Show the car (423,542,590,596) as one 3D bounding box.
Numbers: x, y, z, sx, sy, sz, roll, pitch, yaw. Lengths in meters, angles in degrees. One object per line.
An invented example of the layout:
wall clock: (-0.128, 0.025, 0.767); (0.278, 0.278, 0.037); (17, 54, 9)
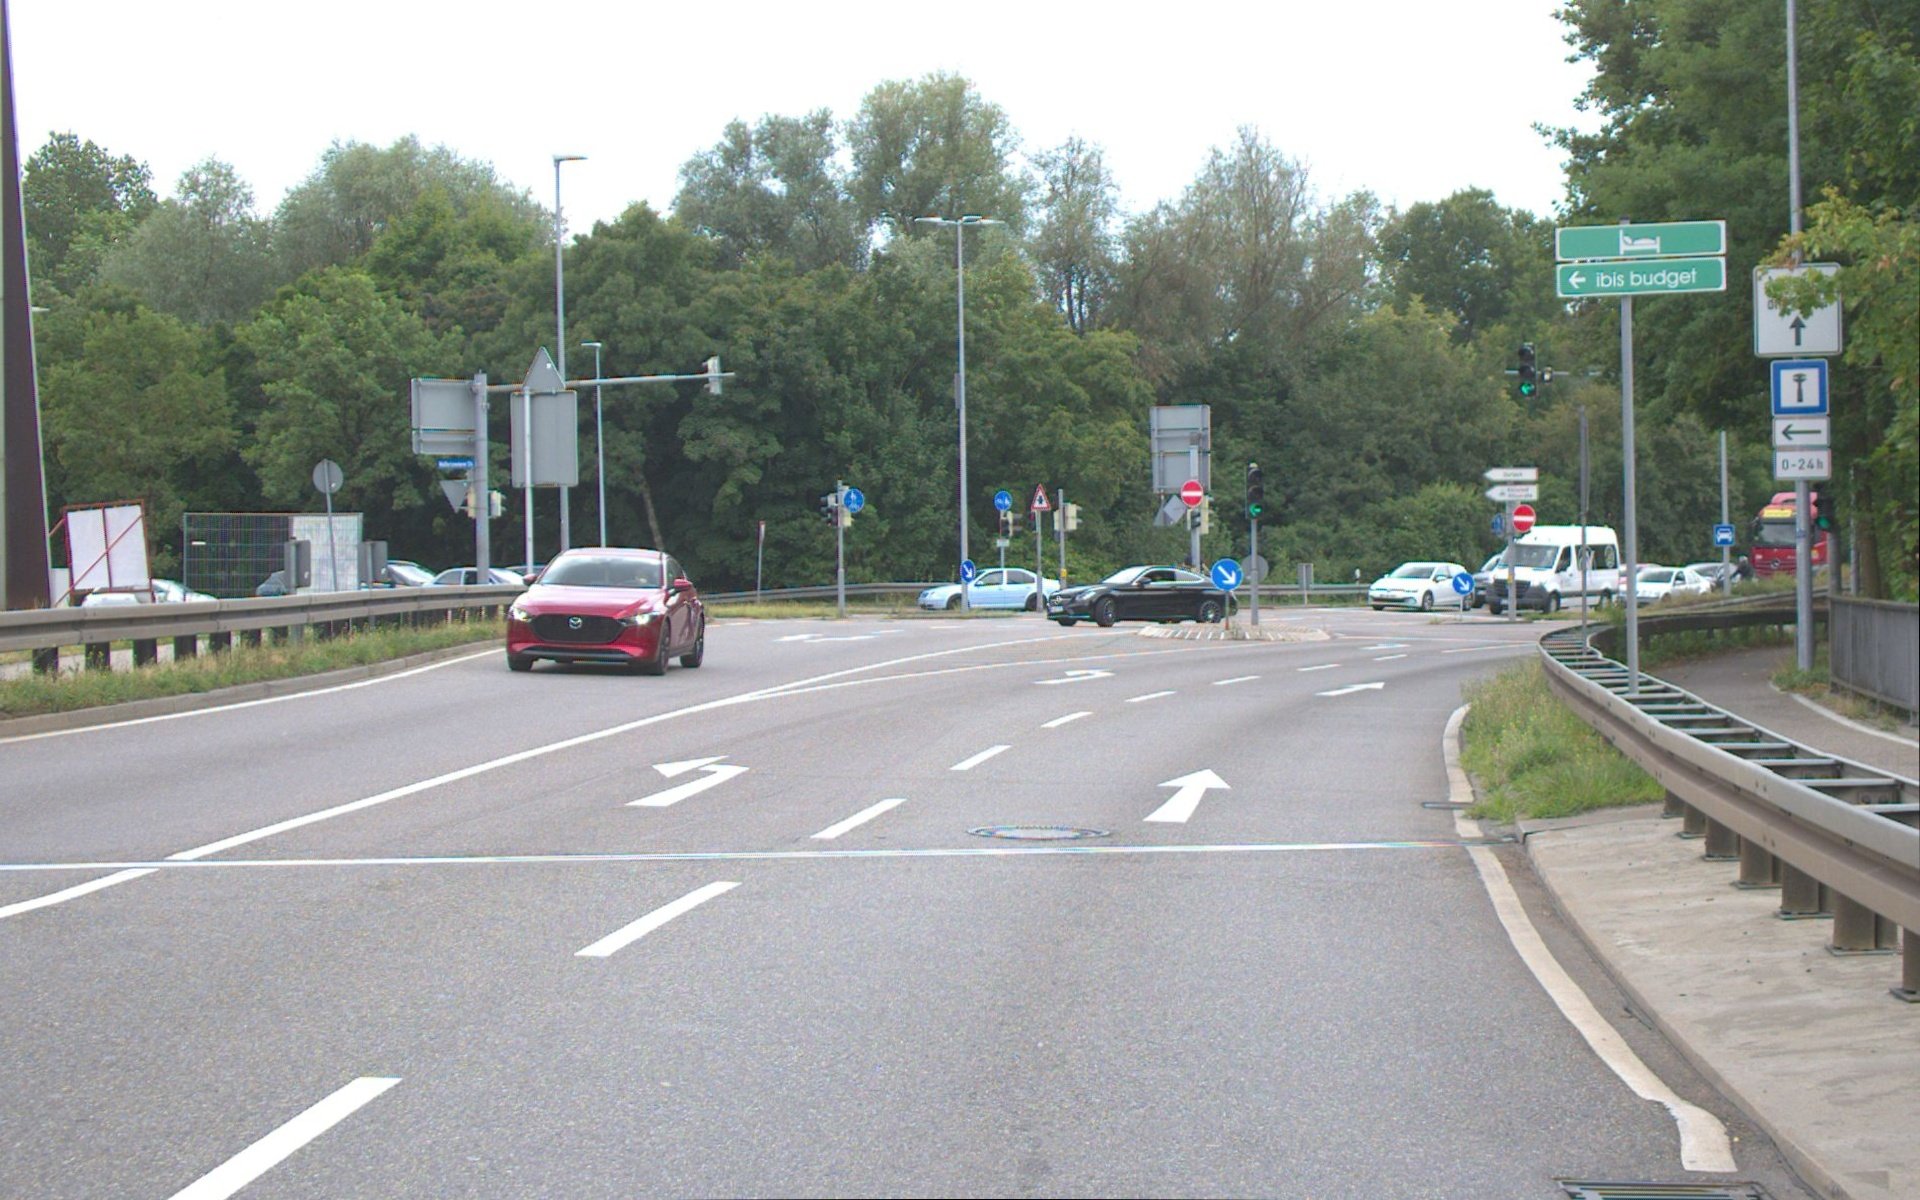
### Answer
car: (-11.510, -0.795, 87.148); (3.801, 1.305, 1.996); (1, 1, 33)

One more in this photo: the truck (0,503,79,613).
truck: (-30.268, -1.285, 100.829); (9.262, 3.125, 2.966); (1, 1, 32)

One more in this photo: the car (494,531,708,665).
car: (-4.173, -0.049, 40.602); (1.796, 1.467, 4.635); (1, 1, 3)

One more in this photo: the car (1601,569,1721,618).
car: (22.157, -0.213, 108.547); (1.998, 1.493, 4.390); (1, 1, 37)

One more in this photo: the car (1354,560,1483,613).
car: (13.795, -0.410, 103.208); (1.997, 1.541, 4.530); (1, 1, 34)

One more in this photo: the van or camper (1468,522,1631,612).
van or camper: (17.699, -0.976, 102.958); (2.165, 2.580, 6.482); (1, 1, 35)

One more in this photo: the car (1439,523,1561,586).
car: (16.926, -1.421, 107.657); (1.998, 1.896, 4.157); (1, 1, 38)

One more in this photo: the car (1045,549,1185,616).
car: (3.593, -0.417, 78.975); (1.995, 1.450, 4.649); (1, 1, 19)

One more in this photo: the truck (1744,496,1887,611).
truck: (30.979, -1.666, 124.416); (2.574, 4.069, 5.608); (1, 1, 43)

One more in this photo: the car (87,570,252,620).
car: (-21.882, -0.153, 95.134); (4.332, 1.305, 1.996); (1, 1, 33)

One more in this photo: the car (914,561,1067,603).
car: (0.912, -0.562, 104.221); (4.209, 1.201, 2.001); (1, 1, -18)
